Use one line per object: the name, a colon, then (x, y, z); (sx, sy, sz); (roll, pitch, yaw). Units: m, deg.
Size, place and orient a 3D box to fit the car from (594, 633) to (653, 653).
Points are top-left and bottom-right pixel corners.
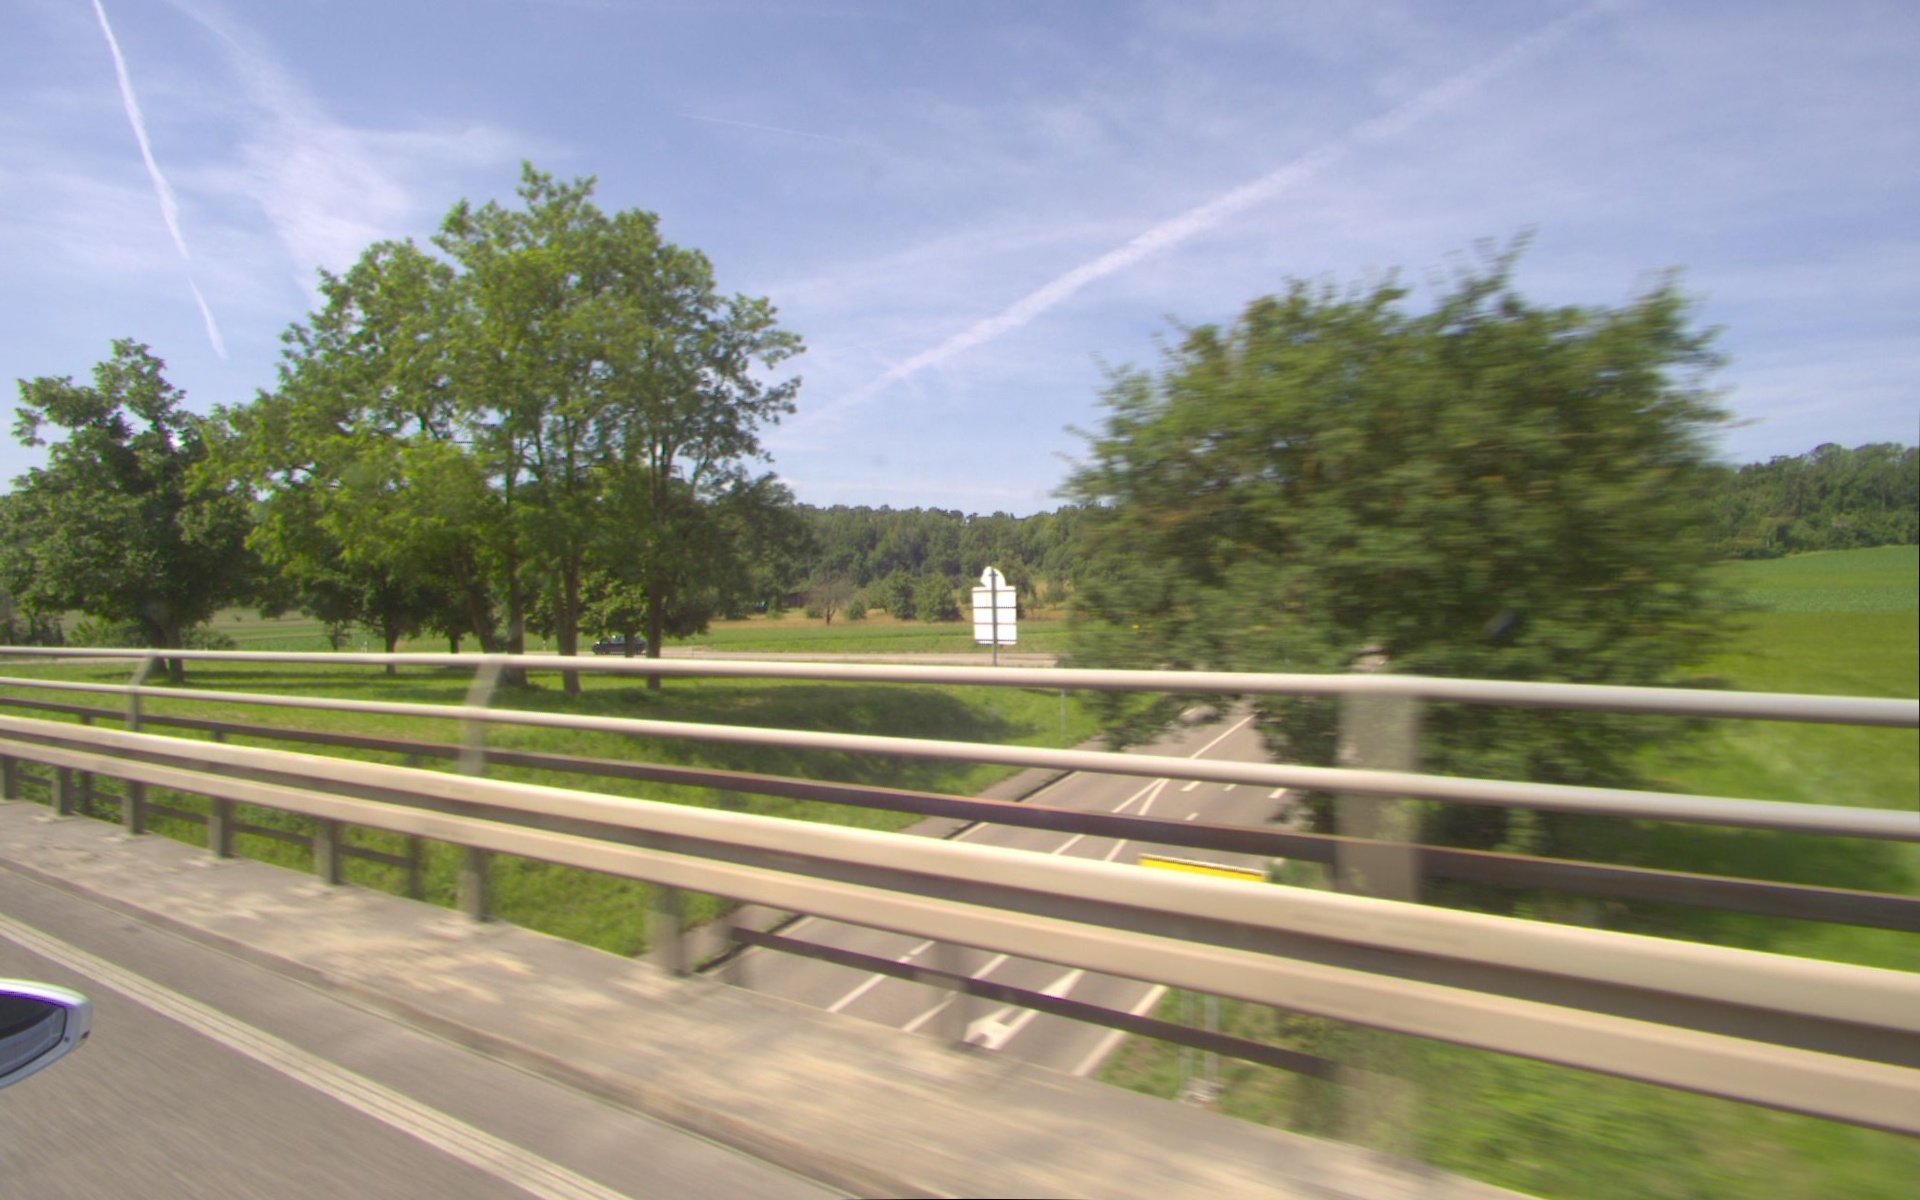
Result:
car: (-28.668, 3.679, 85.420); (4.345, 1.610, 2.063); (1, -1, 11)
